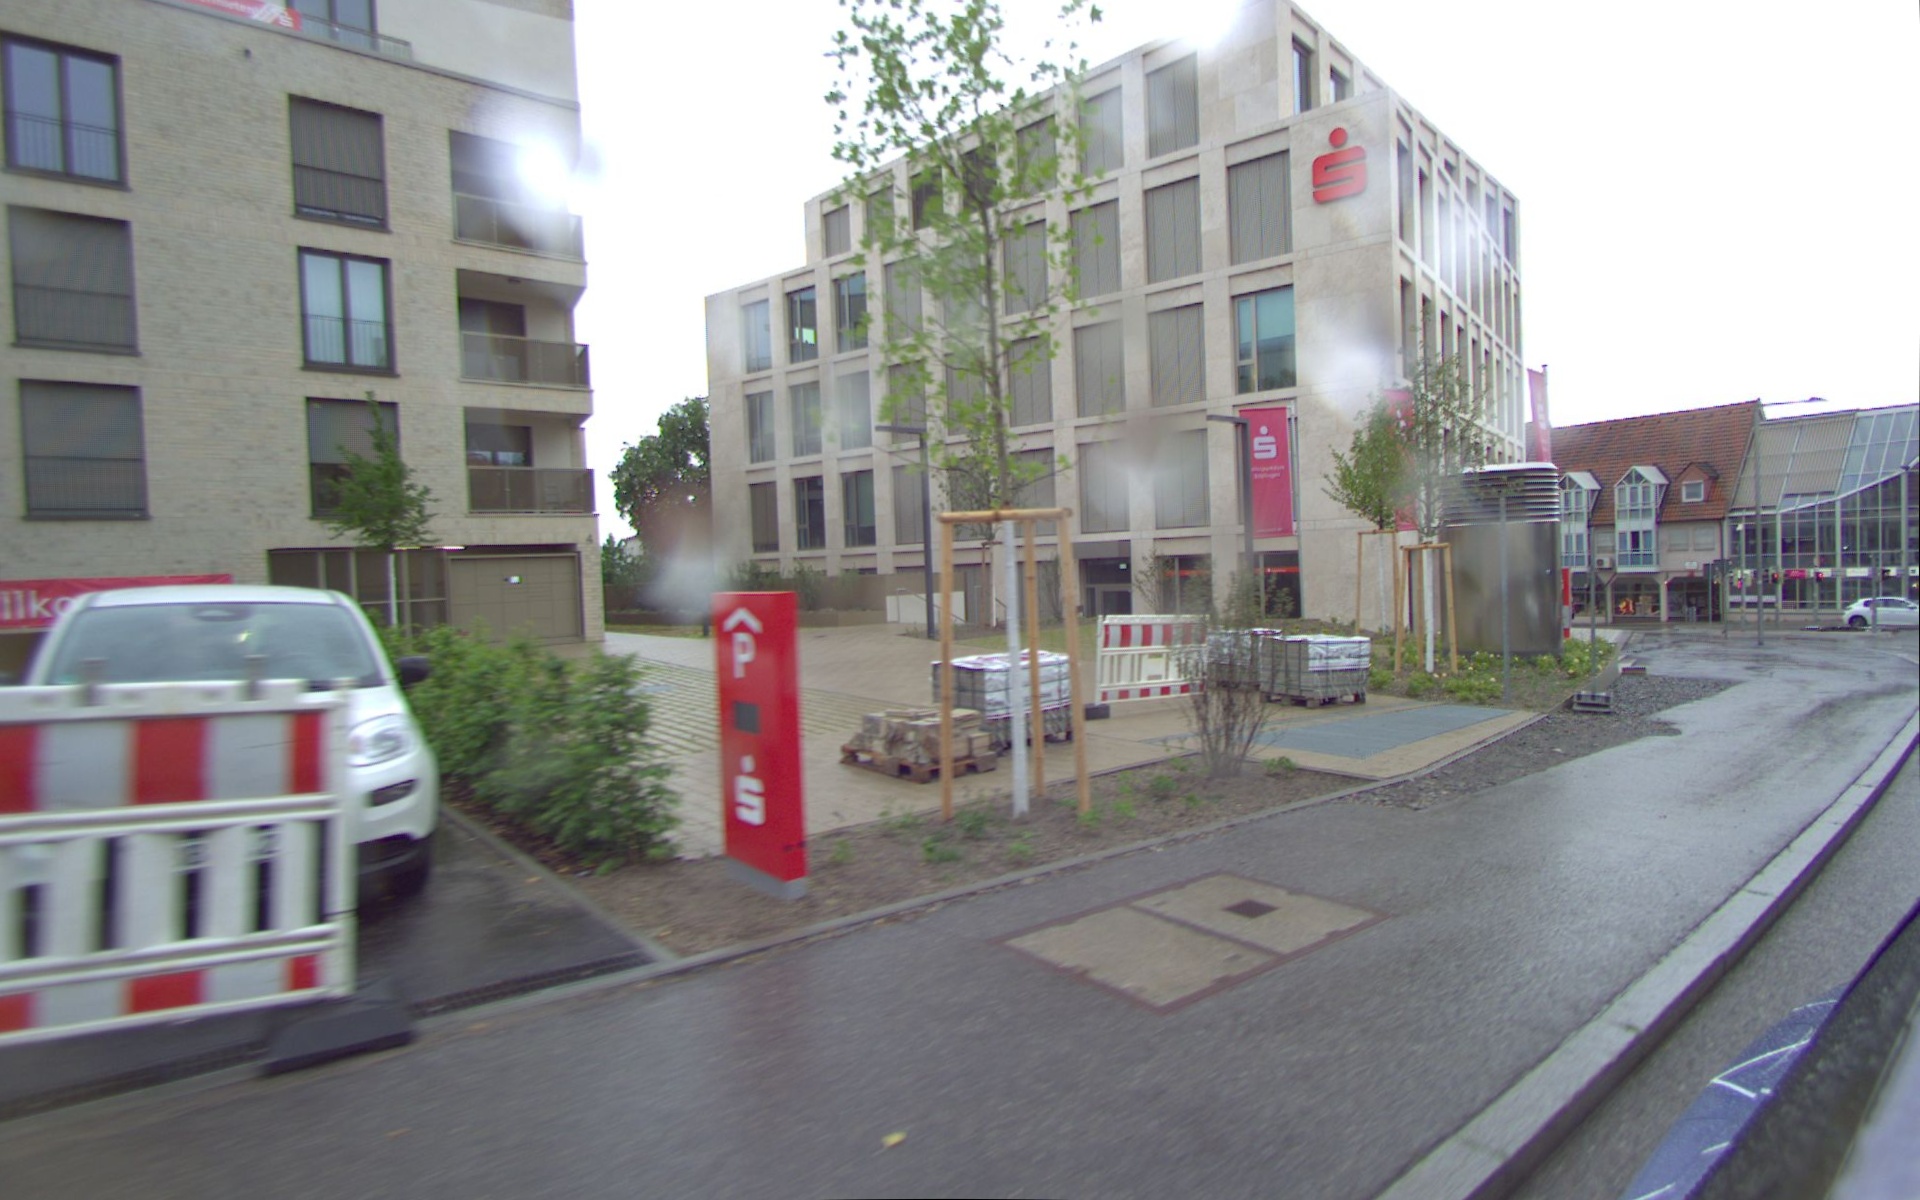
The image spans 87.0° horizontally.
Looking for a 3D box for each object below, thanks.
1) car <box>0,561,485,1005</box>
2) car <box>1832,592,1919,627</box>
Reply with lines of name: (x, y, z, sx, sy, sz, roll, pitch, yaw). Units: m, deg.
car: (-3.931, 0.663, 5.352, 1.745, 1.522, 3.674, 0, -1, -39)
car: (43.503, 0.429, 46.397, 1.964, 1.565, 5.028, 0, 0, -38)
